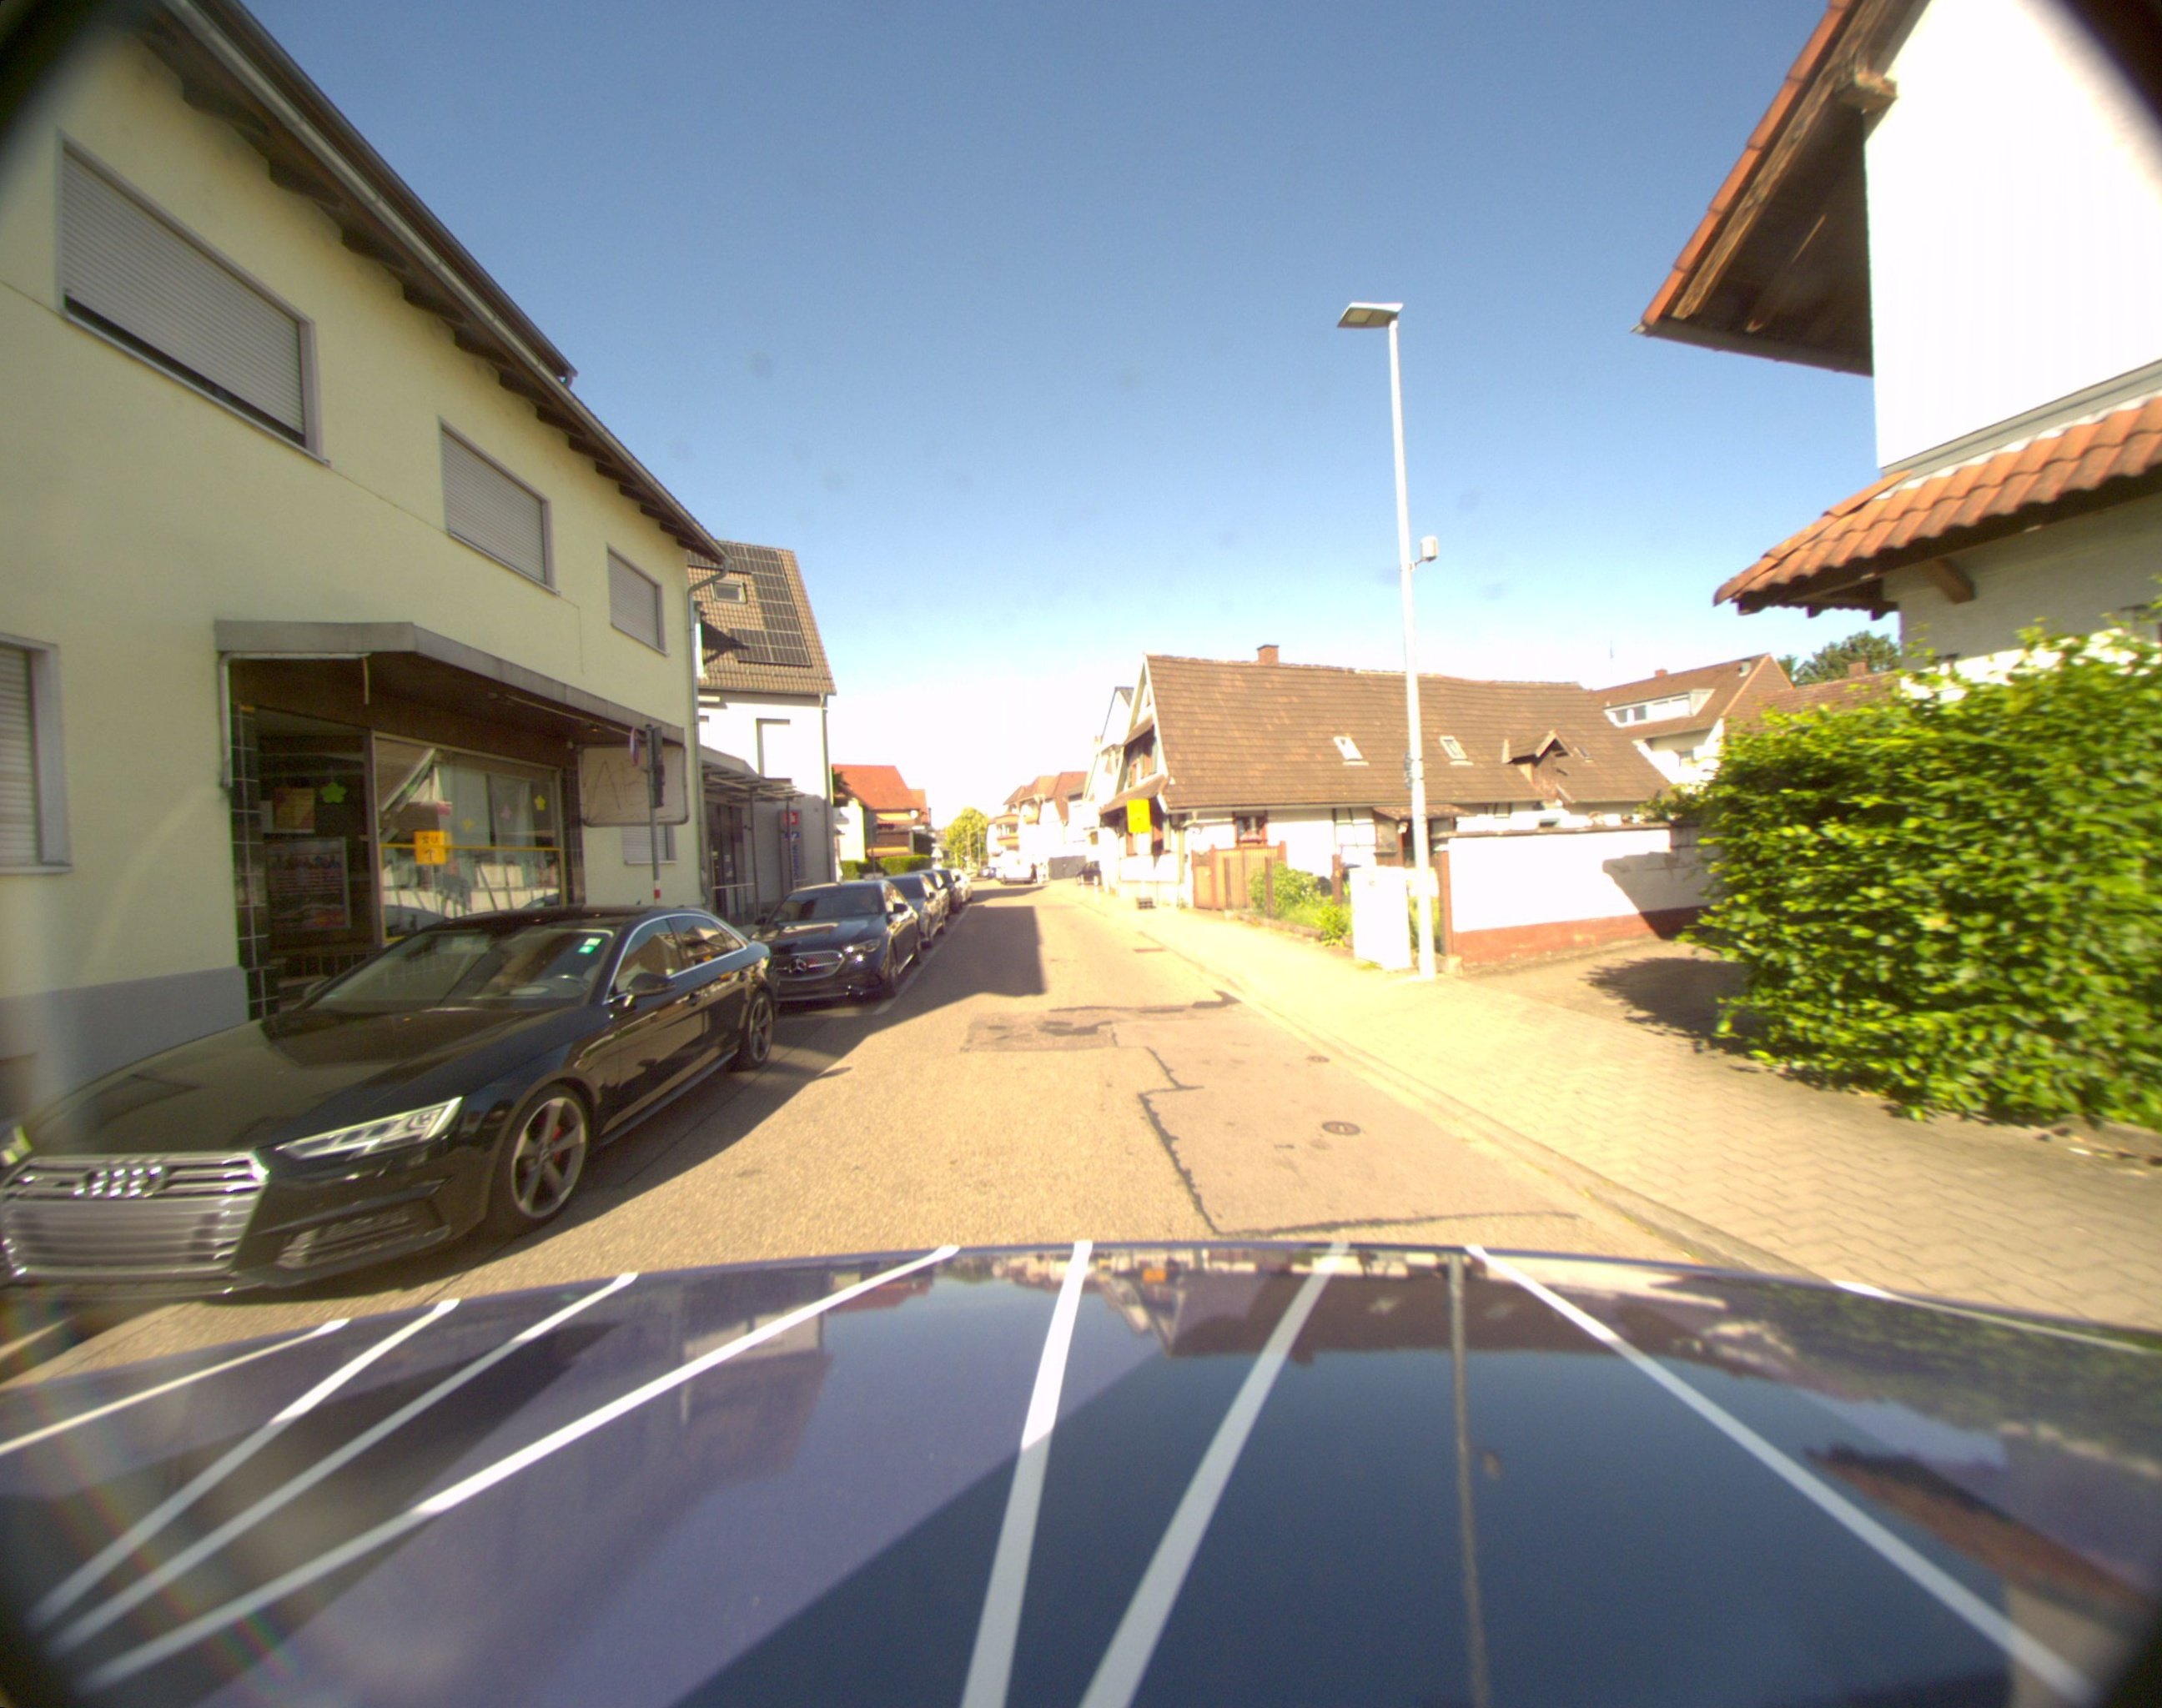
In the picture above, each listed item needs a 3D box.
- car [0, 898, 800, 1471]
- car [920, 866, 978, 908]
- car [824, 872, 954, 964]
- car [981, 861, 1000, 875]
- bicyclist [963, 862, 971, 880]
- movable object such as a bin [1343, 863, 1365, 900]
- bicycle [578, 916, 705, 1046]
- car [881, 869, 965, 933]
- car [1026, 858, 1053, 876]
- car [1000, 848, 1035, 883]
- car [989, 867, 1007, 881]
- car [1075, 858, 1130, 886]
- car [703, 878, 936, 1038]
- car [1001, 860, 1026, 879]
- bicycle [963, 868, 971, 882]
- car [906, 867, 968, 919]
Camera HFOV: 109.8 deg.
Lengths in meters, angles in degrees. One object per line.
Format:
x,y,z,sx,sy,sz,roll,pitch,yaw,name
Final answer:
-3.483,1.208,4.800,1.813,1.466,4.842,-5,0,-4,car
-5.486,1.329,32.093,1.851,1.505,4.505,-3,0,-3,car
-3.894,1.233,16.189,1.813,1.466,4.443,-5,0,-4,car
-11.053,1.682,92.970,1.765,1.547,3.995,-3,0,-14,car
-10.883,1.587,72.535,0.643,1.655,0.604,-4,0,-7,bicyclist
7.853,0.791,21.880,0.418,1.010,0.362,-4,0,-17,movable object such as a bin
-4.768,1.334,8.354,0.509,1.151,1.507,-4,0,-3,bicycle
-4.383,1.263,21.609,1.730,1.466,3.873,-5,0,-4,car
-3.933,1.248,71.523,1.648,1.577,4.107,-4,0,-15,car
-4.880,0.885,58.011,2.259,2.456,5.512,-3,0,-8,car
-9.238,2.186,84.426,1.624,1.430,3.952,-3,0,-12,car
1.211,1.052,44.975,1.695,1.437,4.169,-4,0,-22,car
-3.299,1.210,10.702,1.813,1.466,4.842,-5,0,-4,car
-5.994,1.357,67.298,1.728,1.609,4.108,-3,0,-11,car
-10.864,1.999,72.583,0.640,1.175,2.020,-4,0,-7,bicycle
-4.933,1.284,26.478,1.614,1.512,3.970,-5,0,-5,car
